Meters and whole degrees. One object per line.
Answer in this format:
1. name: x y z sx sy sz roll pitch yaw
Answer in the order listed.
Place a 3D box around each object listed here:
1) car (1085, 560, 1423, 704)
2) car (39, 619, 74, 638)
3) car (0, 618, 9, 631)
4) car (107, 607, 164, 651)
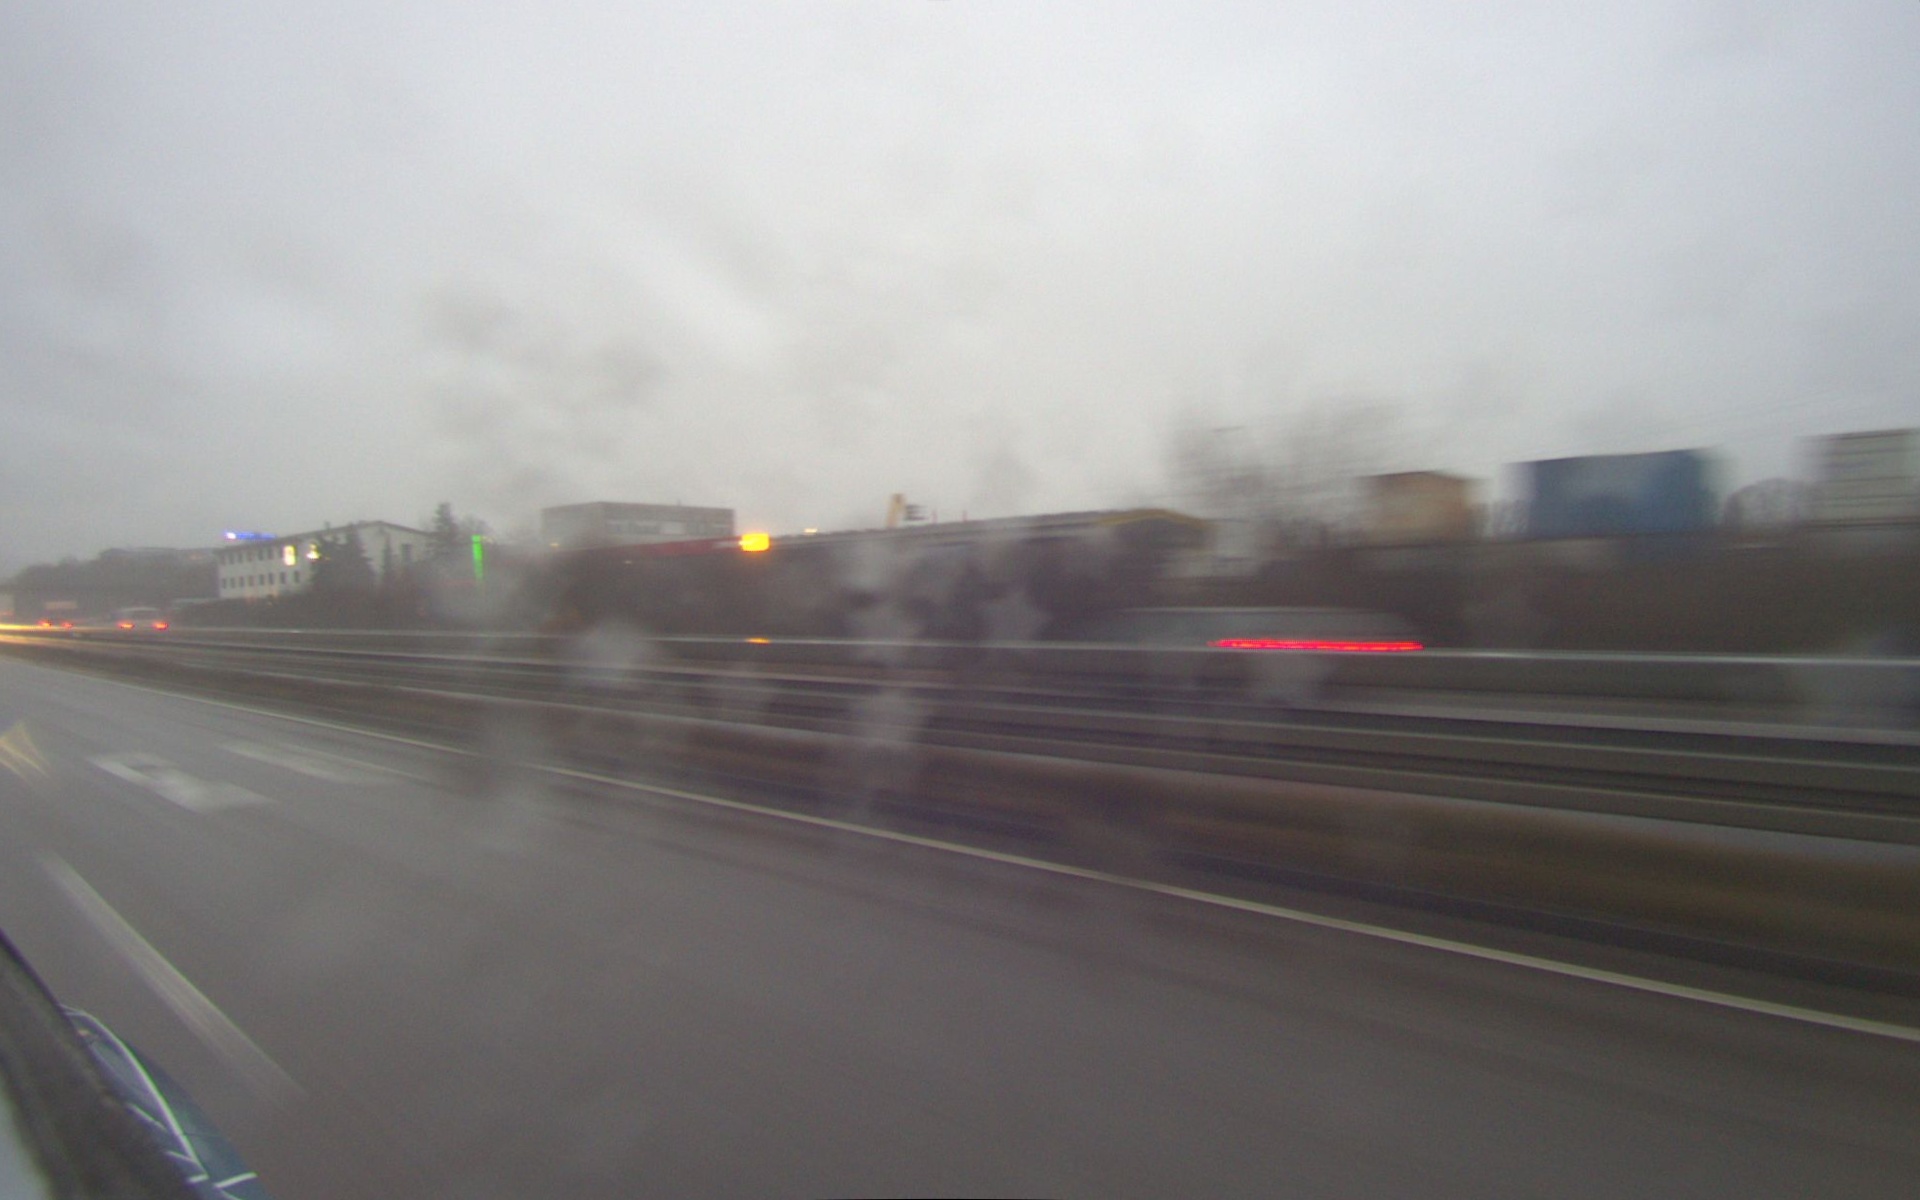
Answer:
1. car: 3.826 0.407 13.565 3.998 1.652 1.722 -1 -1 41
2. car: -75.519 2.365 84.555 3.999 1.519 1.718 -1 1 42
3. car: -112.820 2.883 118.533 3.999 1.519 1.718 -1 1 42
4. car: -49.714 1.689 61.007 4.887 2.313 1.907 3 3 42
